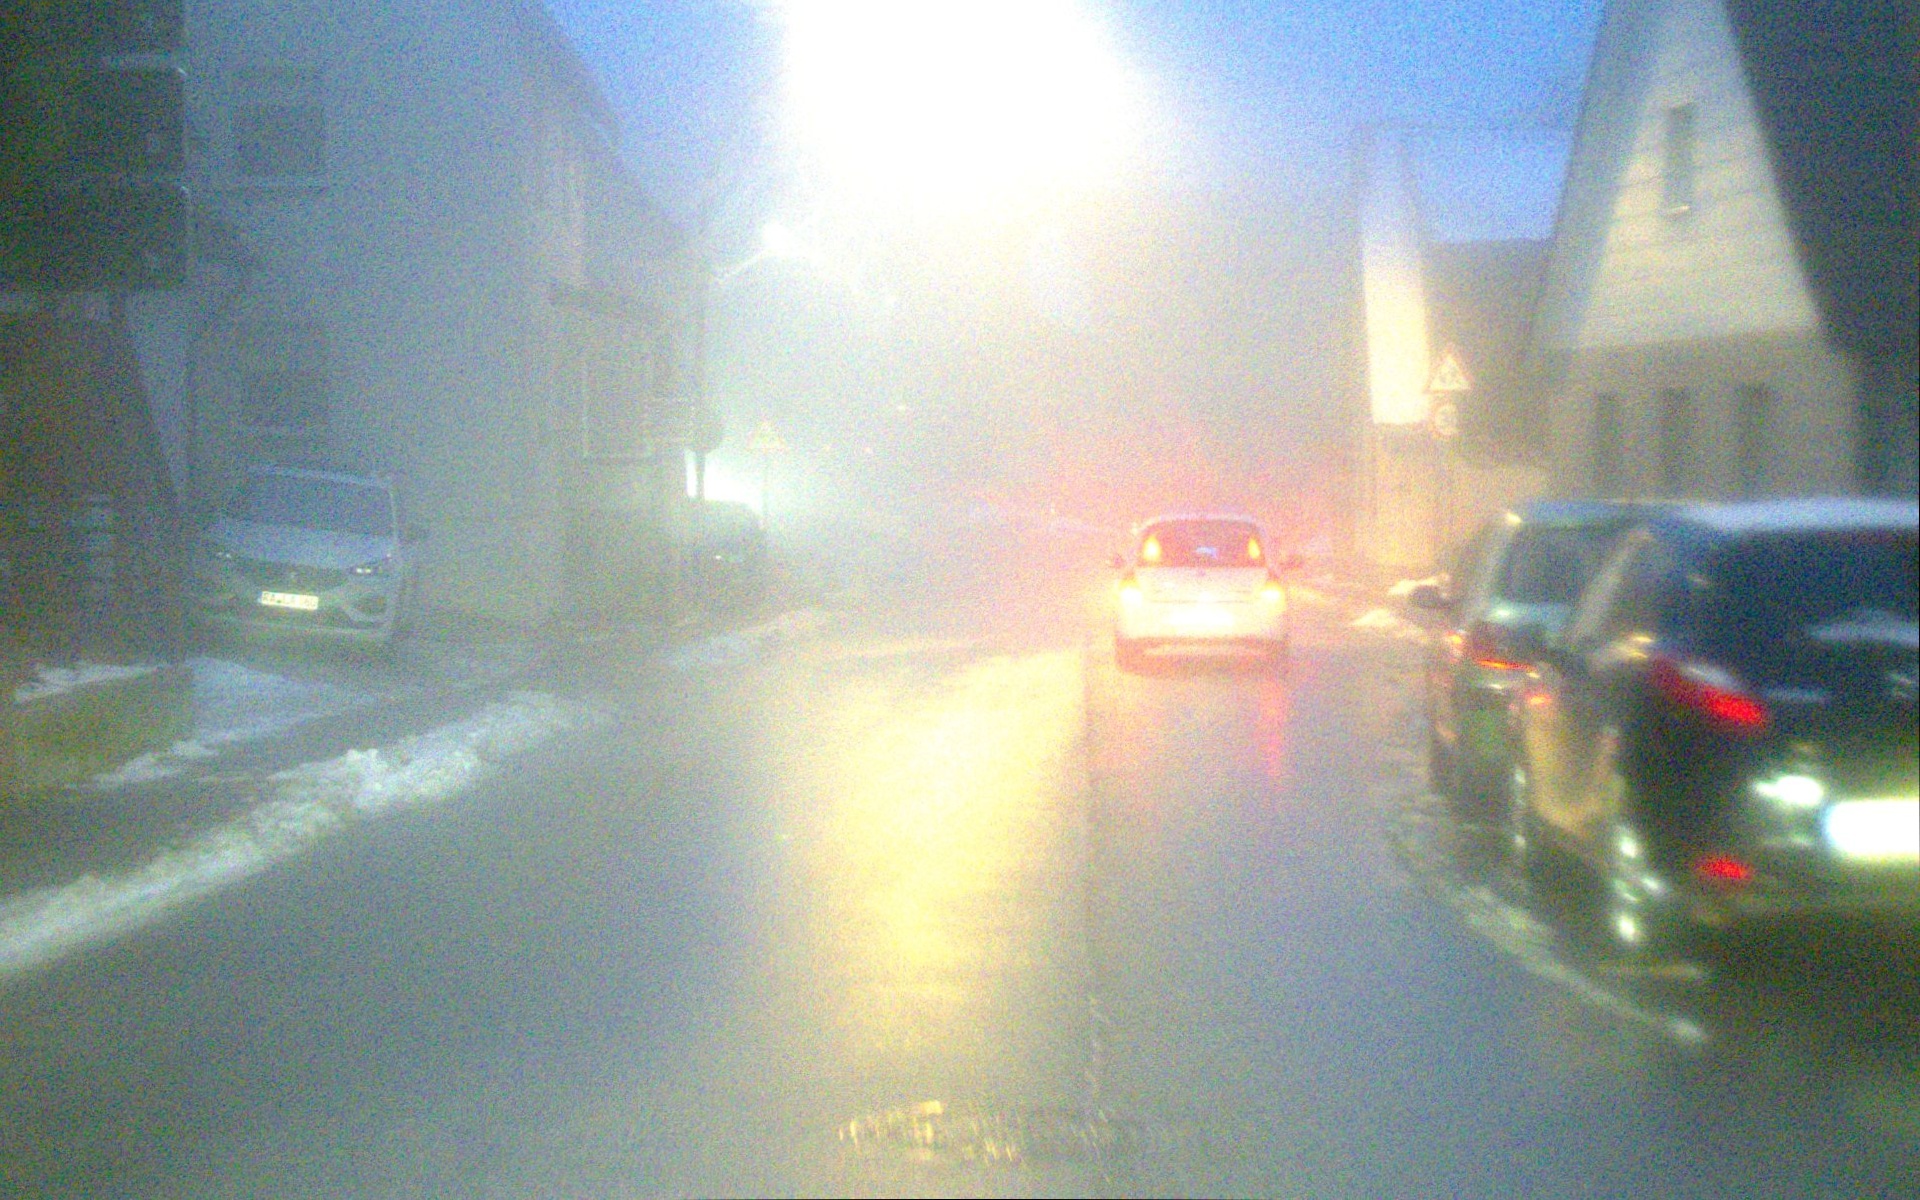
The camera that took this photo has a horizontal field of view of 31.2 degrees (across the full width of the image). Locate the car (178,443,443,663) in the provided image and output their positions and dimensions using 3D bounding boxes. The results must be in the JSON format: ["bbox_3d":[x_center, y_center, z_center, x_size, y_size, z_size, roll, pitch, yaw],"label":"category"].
[{"bbox_3d":[-5.844,-0.421,31.440,1.764,1.730,4.640,4,0,-4],"label":"car"}]

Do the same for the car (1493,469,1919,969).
[{"bbox_3d":[2.971,0.307,12.468,1.717,1.494,3.906,2,2,5],"label":"car"}]

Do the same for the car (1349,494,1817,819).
[{"bbox_3d":[3.080,0.227,17.834,1.910,1.476,4.281,0,1,4],"label":"car"}]

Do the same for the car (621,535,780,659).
[{"bbox_3d":[-3.644,-0.077,48.959,1.993,1.517,4.191,2,2,-1],"label":"car"}]

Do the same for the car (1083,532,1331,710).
[{"bbox_3d":[2.411,0.196,32.661,1.994,1.503,3.998,2,0,8],"label":"car"}]
